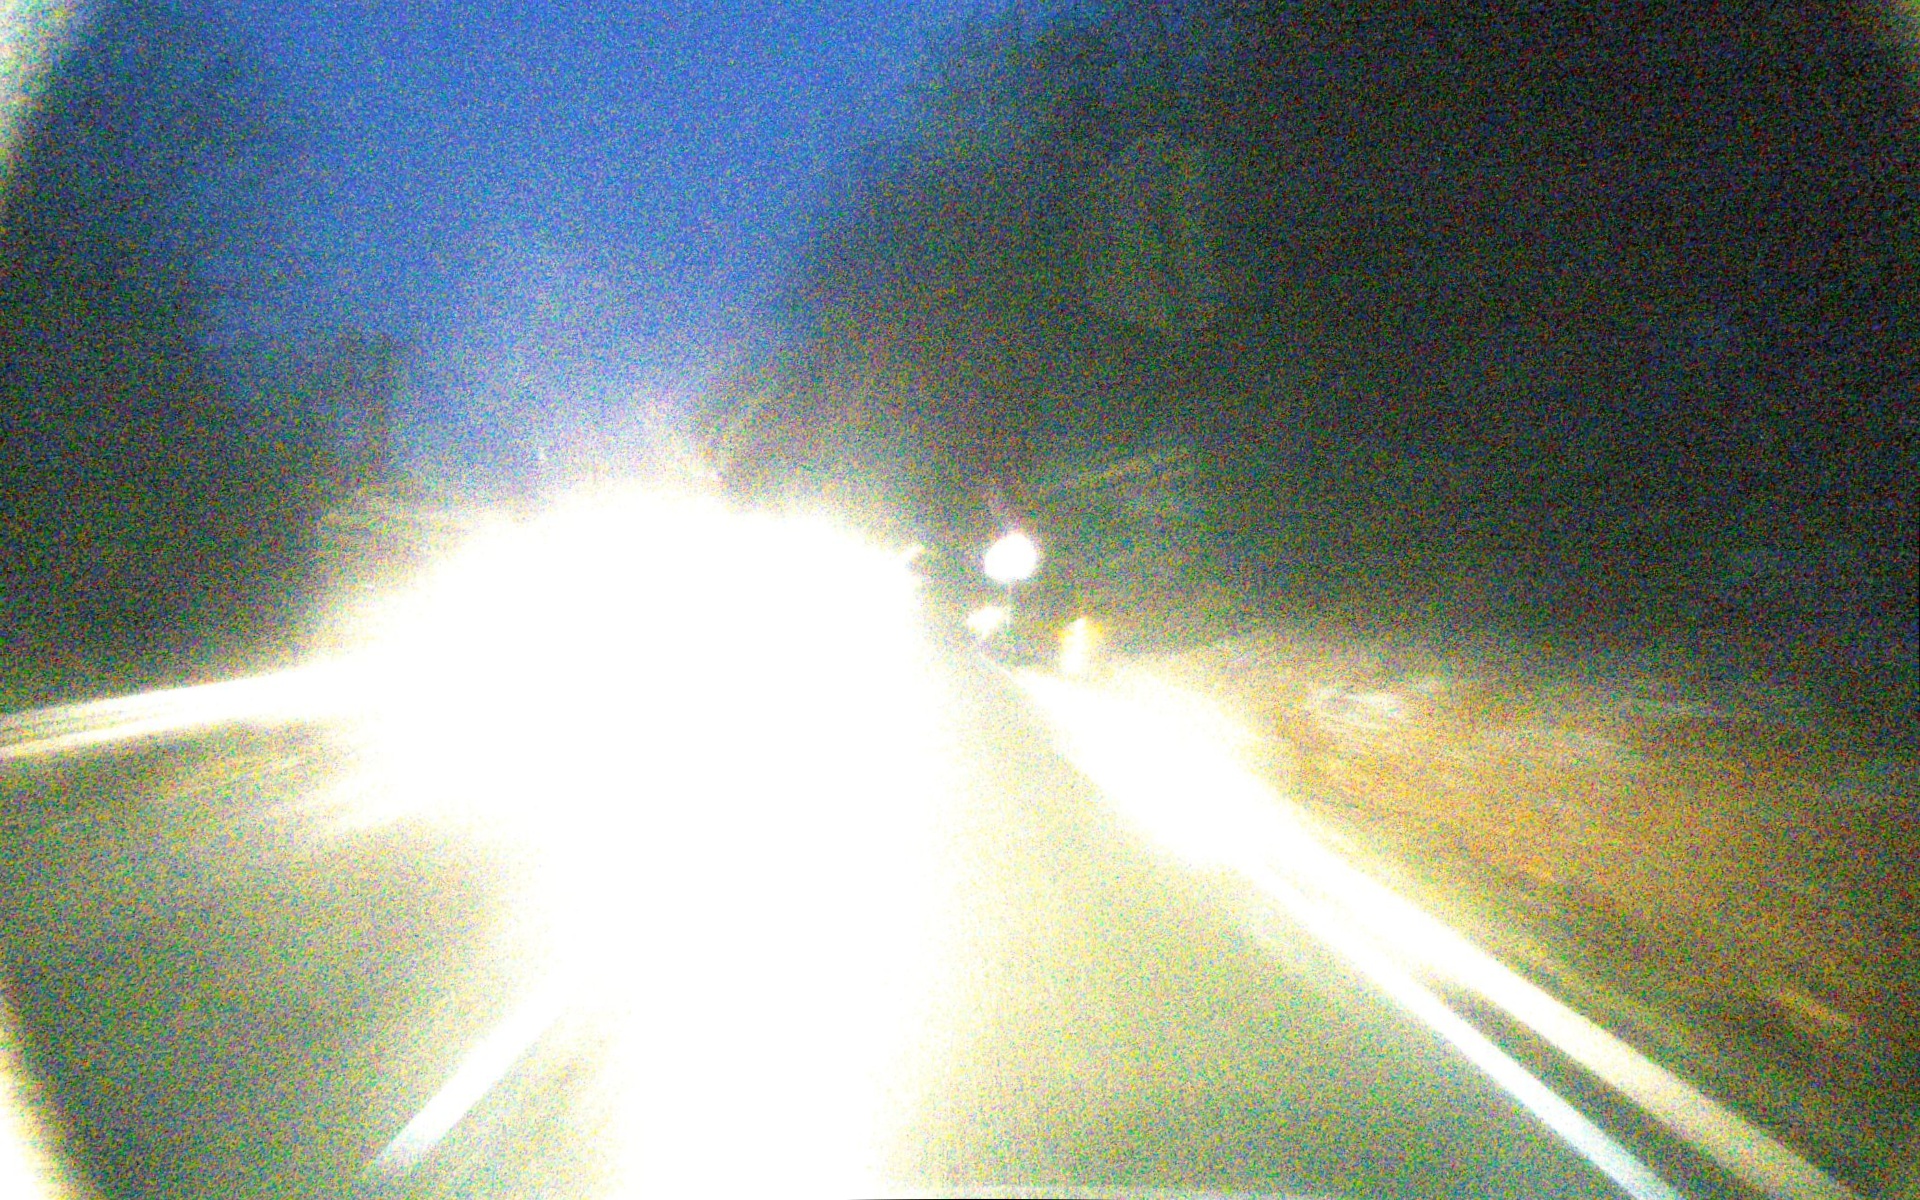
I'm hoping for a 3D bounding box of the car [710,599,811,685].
[{"bbox_3d":[-4.405,0.901,37.077,1.954,1.780,4.255,1,0,-3],"label":"car"}]
